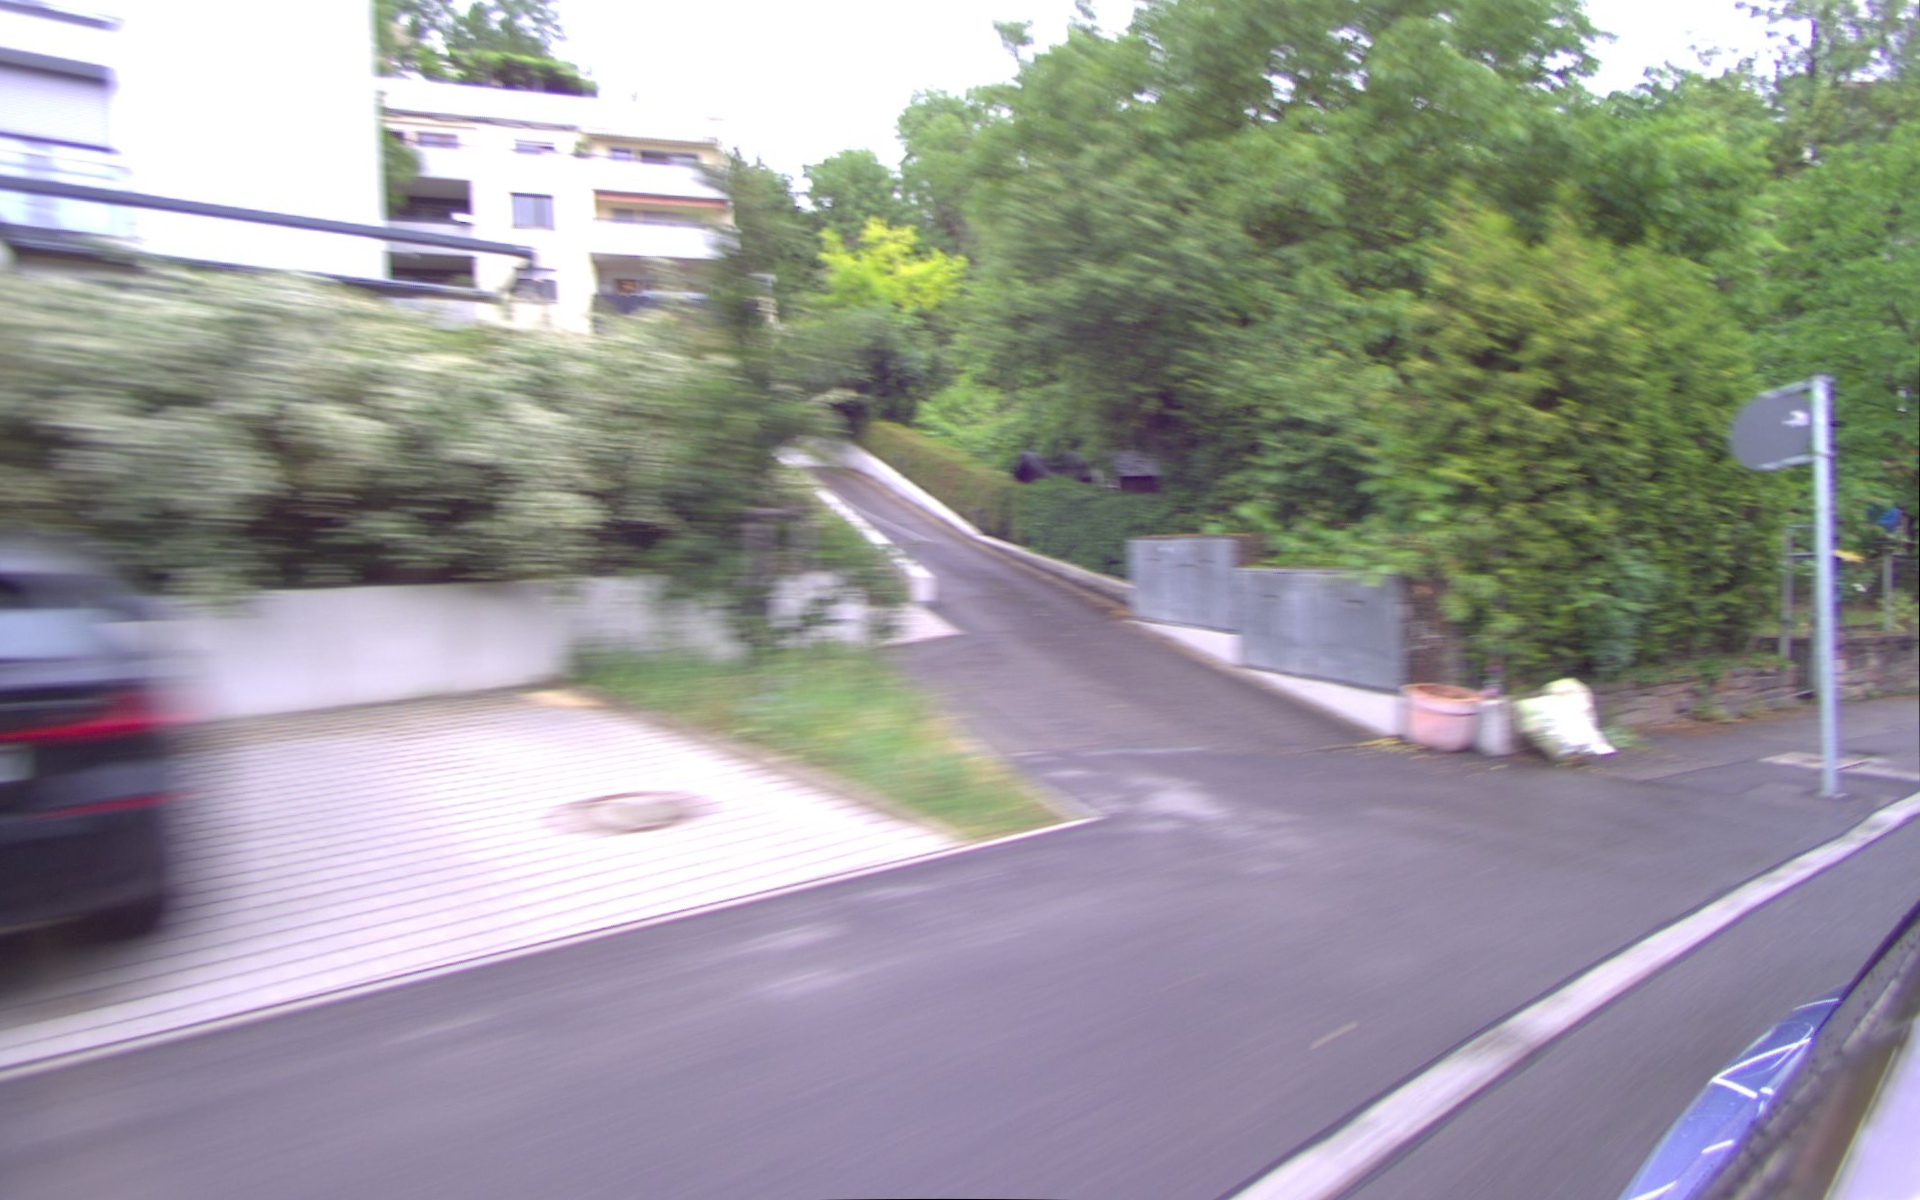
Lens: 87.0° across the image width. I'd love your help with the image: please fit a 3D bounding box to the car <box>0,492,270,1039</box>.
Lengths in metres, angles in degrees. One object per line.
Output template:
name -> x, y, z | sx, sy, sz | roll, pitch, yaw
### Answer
car -> -4.254, 0.313, 4.145 | 1.712, 1.526, 4.175 | -1, 5, -44
